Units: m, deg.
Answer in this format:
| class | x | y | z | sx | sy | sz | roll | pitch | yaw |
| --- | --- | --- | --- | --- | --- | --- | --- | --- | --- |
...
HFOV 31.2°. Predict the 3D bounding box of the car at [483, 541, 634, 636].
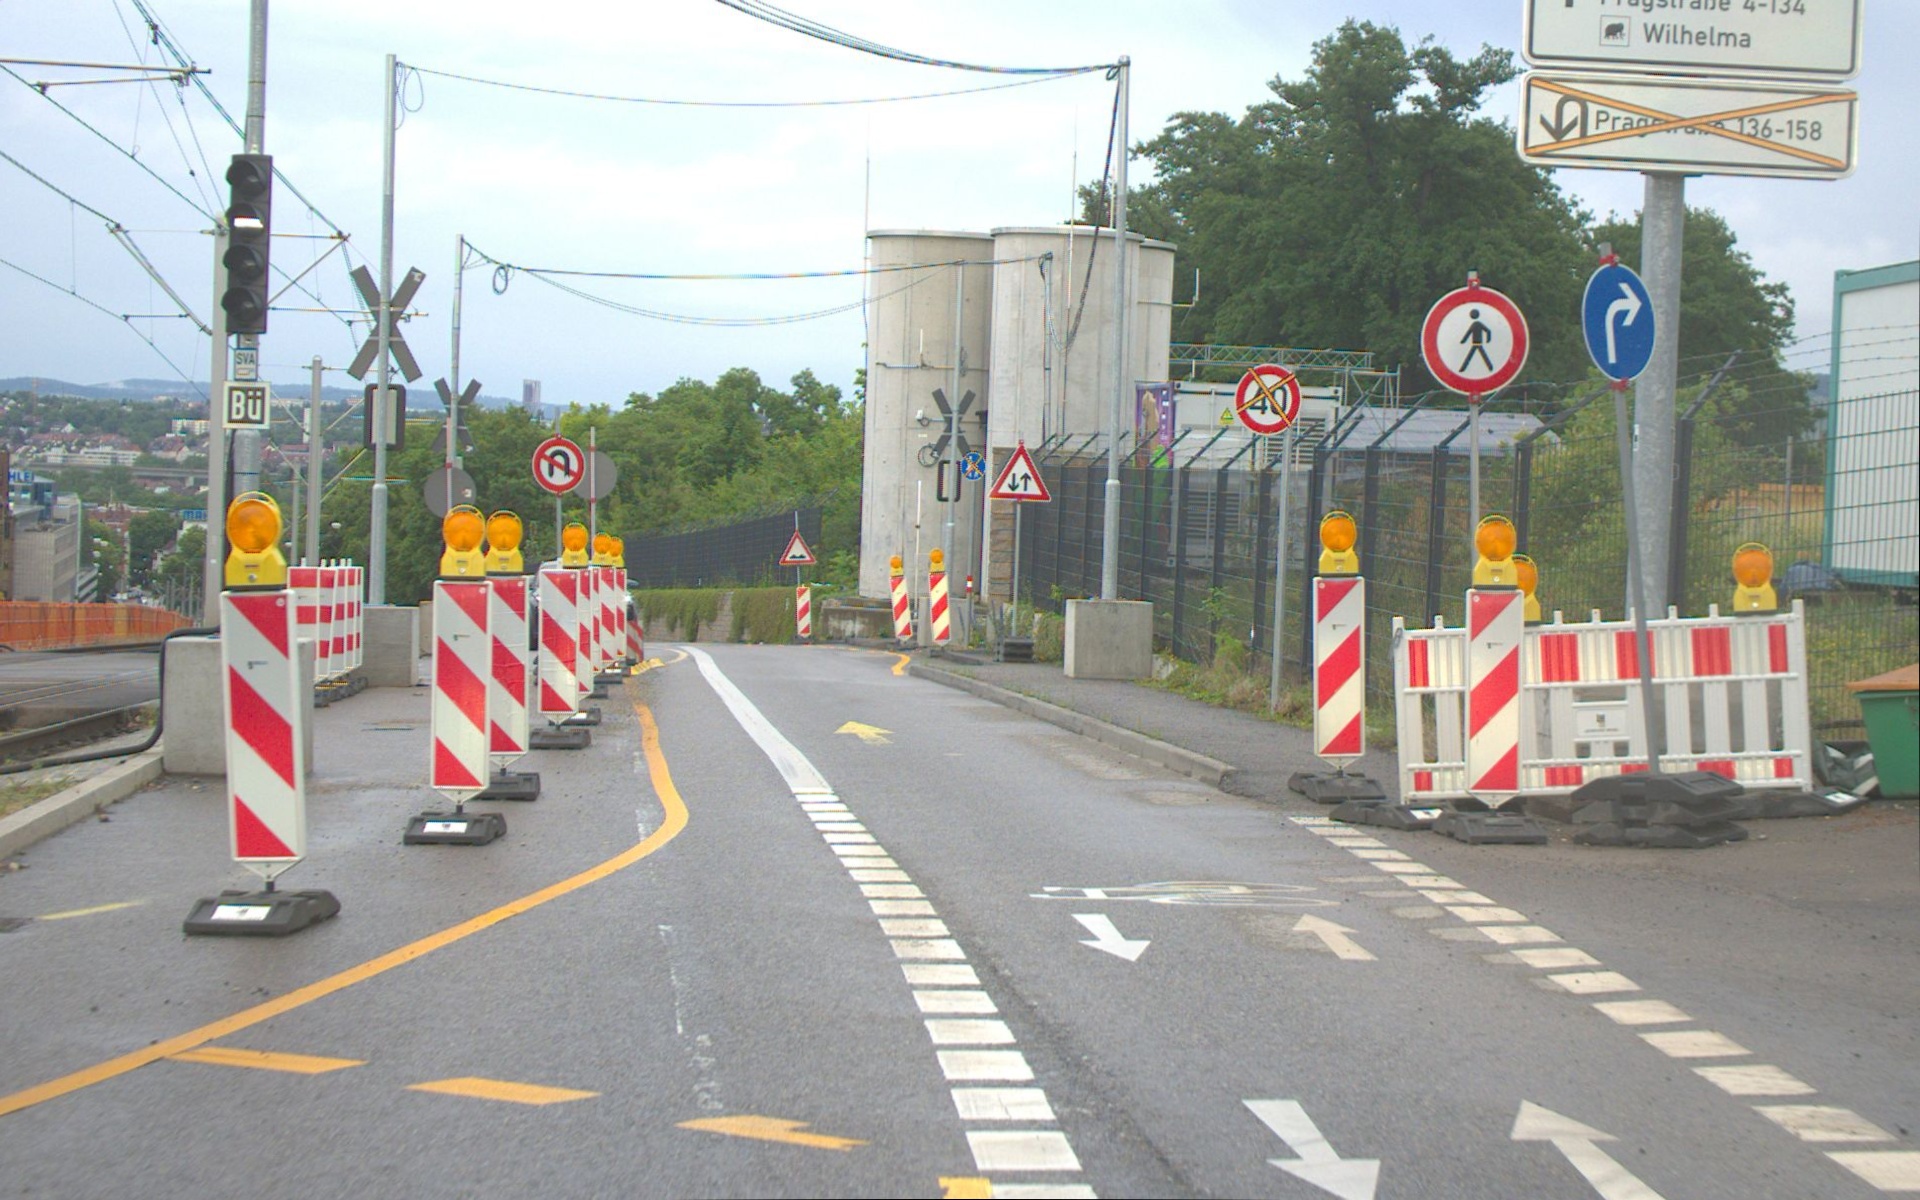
| class | x | y | z | sx | sy | sz | roll | pitch | yaw |
| --- | --- | --- | --- | --- | --- | --- | --- | --- | --- |
| car | -7.483 | -0.221 | 63.775 | 1.993 | 1.672 | 4.490 | 1 | 0 | -17 |
